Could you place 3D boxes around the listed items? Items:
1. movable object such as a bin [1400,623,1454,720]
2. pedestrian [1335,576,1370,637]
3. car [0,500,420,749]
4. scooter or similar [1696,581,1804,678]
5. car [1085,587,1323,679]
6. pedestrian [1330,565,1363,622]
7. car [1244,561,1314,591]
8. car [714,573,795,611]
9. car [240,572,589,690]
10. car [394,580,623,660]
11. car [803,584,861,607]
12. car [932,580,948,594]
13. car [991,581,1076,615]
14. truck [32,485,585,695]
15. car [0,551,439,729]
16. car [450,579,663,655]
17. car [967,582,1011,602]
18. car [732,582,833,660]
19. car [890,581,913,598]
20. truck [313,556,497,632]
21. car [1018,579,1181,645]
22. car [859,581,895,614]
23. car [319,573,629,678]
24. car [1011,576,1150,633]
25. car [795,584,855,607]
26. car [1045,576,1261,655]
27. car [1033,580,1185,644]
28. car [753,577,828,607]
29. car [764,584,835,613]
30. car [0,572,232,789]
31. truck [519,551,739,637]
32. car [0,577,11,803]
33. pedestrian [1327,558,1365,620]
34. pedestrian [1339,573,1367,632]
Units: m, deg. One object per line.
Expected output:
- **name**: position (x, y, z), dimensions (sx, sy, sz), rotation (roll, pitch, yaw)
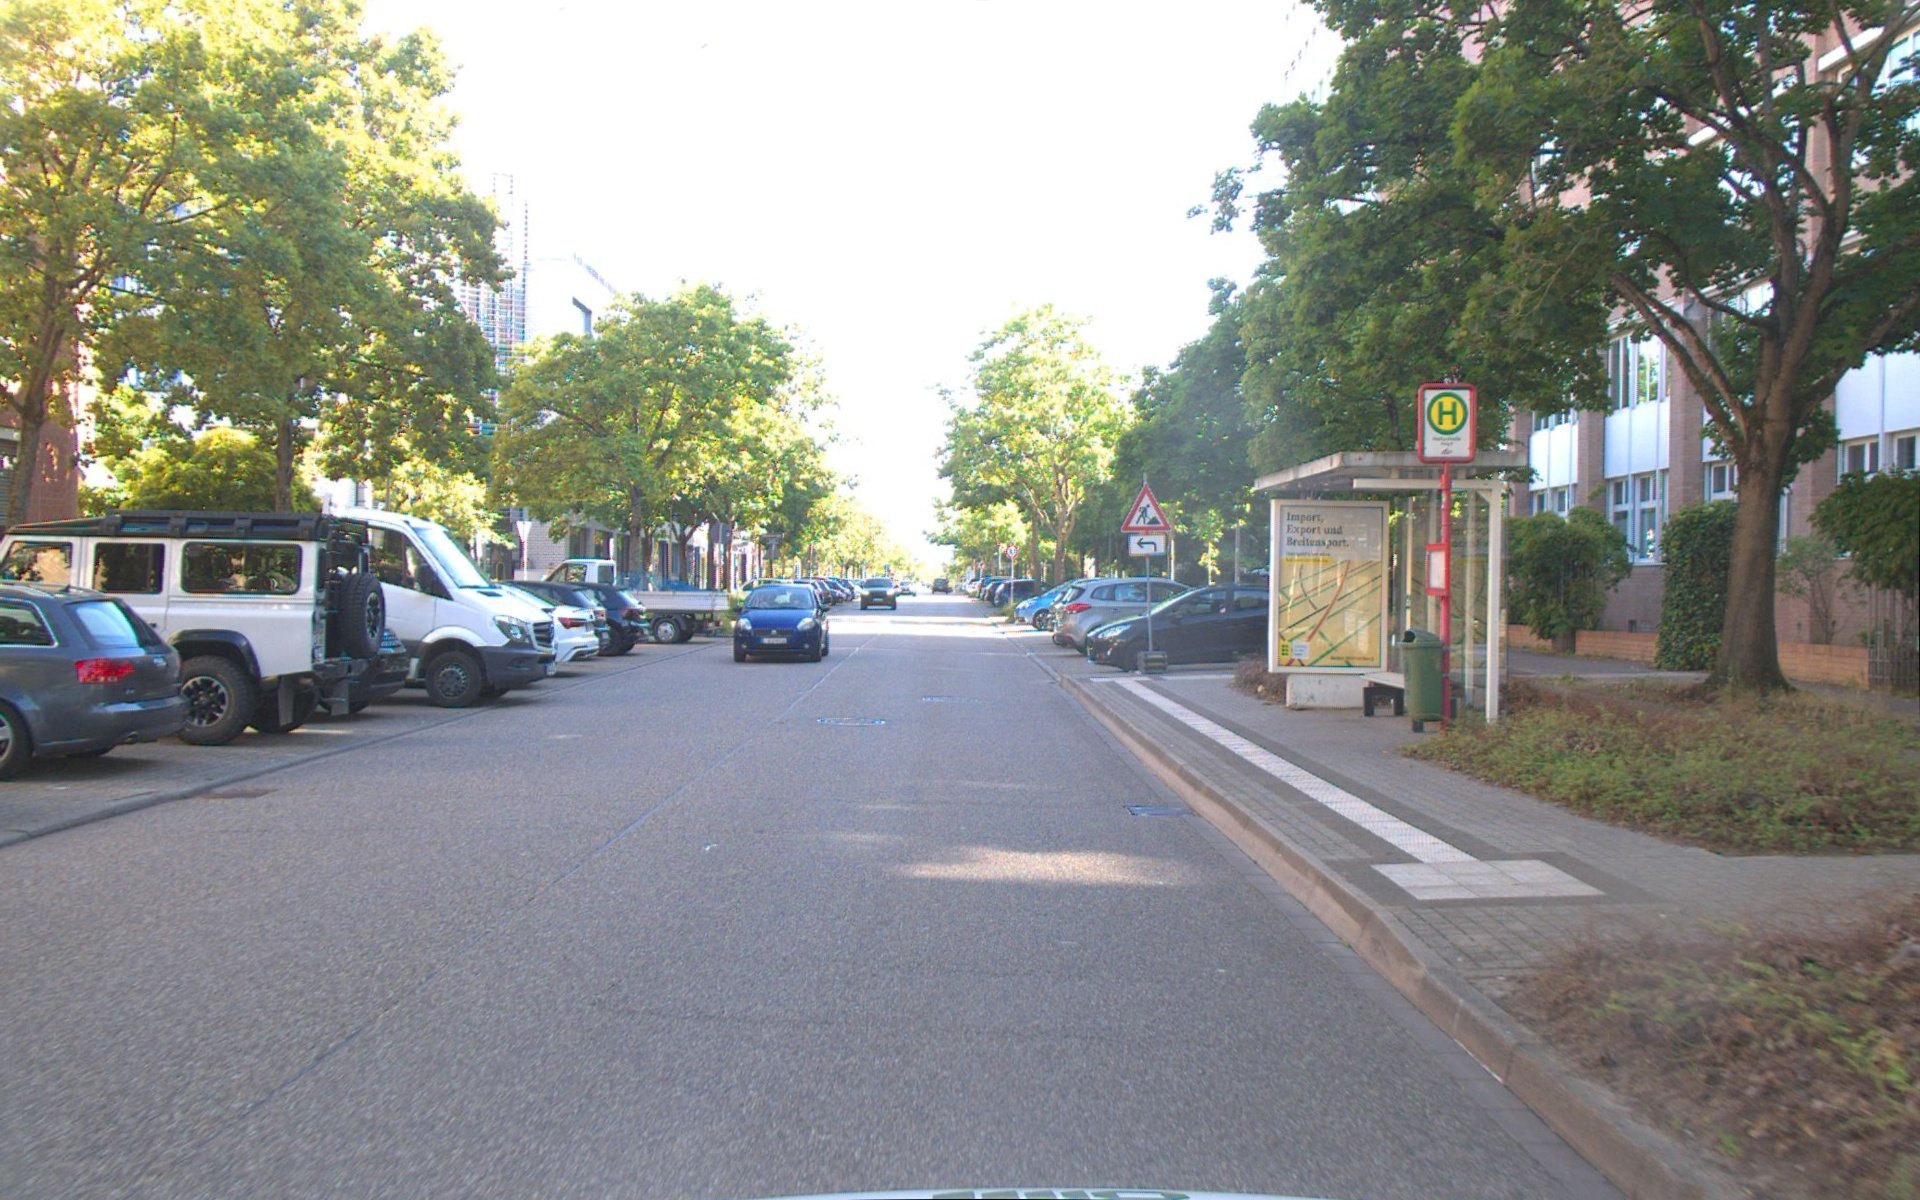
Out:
- **movable object such as a bin**: position (3.835, 0.581, 13.594), dimensions (0.292, 0.767, 0.467), rotation (-2, 0, -1)
- **pedestrian**: position (10.248, 0.172, 43.197), dimensions (0.741, 1.579, 0.559), rotation (0, 0, -3)
- **car**: position (-7.658, 0.195, 15.646), dimensions (4.392, 2.087, 1.999), rotation (2, 0, -3)
- **scooter or similar**: position (11.585, 0.417, 24.318), dimensions (0.538, 1.348, 1.804), rotation (2, 0, -6)
- **car**: position (4.086, 0.530, 28.155), dimensions (3.852, 1.464, 1.775), rotation (1, 0, 3)
- **pedestrian**: position (10.103, -0.165, 43.263), dimensions (0.686, 1.483, 0.715), rotation (0, 0, -3)
- **car**: position (20.762, -1.554, 107.739), dimensions (3.992, 1.814, 1.998), rotation (2, 0, -5)
- **car**: position (-9.280, -0.364, 74.863), dimensions (3.509, 1.577, 1.636), rotation (1, -2, -3)
- **car**: position (-7.742, 0.423, 23.812), dimensions (4.338, 1.513, 1.999), rotation (2, 0, -2)
- **car**: position (-8.572, 0.363, 31.648), dimensions (3.906, 1.460, 1.722), rotation (0, 0, -1)
- **car**: position (-8.763, -0.309, 113.516), dimensions (3.814, 1.489, 1.857), rotation (1, 0, -2)
- **car**: position (-2.454, -1.569, 198.944), dimensions (1.894, 1.625, 4.365), rotation (0, 1, -1)
- **car**: position (3.706, -0.098, 84.085), dimensions (4.183, 1.662, 1.857), rotation (0, 0, -3)
- **truck**: position (-8.078, -0.129, 20.978), dimensions (6.104, 2.464, 2.187), rotation (1, 0, 0)
- **car**: position (-8.032, 0.408, 18.037), dimensions (4.025, 1.691, 1.999), rotation (2, 0, -3)
- **car**: position (-8.288, 0.328, 34.214), dimensions (3.903, 1.460, 1.790), rotation (1, 0, 3)
- **car**: position (2.694, -0.736, 155.484), dimensions (3.910, 1.823, 1.998), rotation (1, 0, -6)
- **car**: position (-3.446, 0.370, 32.637), dimensions (1.610, 1.445, 3.999), rotation (0, 0, -1)
- **car**: position (-5.337, -0.968, 151.492), dimensions (1.775, 1.440, 4.109), rotation (1, 1, 3)
- **truck**: position (-20.593, -0.239, 61.570), dimensions (5.981, 2.752, 2.577), rotation (0, 0, -3)
- **car**: position (3.418, 0.275, 40.905), dimensions (3.727, 1.433, 1.700), rotation (-2, 1, -6)
- **car**: position (-4.360, -0.163, 87.616), dimensions (1.854, 1.713, 4.350), rotation (0, 0, -3)
- **car**: position (-7.792, 0.383, 26.844), dimensions (4.450, 1.467, 1.889), rotation (2, 1, -2)
- **car**: position (3.894, 0.121, 53.949), dimensions (4.316, 1.646, 1.911), rotation (-2, 1, -2)
- **car**: position (-8.894, -0.306, 109.416), dimensions (3.814, 1.489, 1.857), rotation (1, 0, -2)
- **car**: position (4.100, 0.322, 35.532), dimensions (4.269, 1.625, 1.937), rotation (1, 0, -7)
- **car**: position (3.894, 0.307, 43.627), dimensions (3.769, 1.509, 1.824), rotation (-2, 1, -1)
- **car**: position (-8.661, -0.426, 84.582), dimensions (3.657, 1.489, 1.676), rotation (1, 0, -2)
- **car**: position (-8.577, -0.097, 88.475), dimensions (3.657, 1.489, 1.676), rotation (1, 0, -2)
- **car**: position (-7.923, 0.542, 12.829), dimensions (3.705, 1.518, 1.831), rotation (2, 0, -5)
- **truck**: position (-8.020, -0.156, 40.393), dimensions (4.882, 1.993, 2.139), rotation (1, 0, 1)
- **car**: position (-8.202, 0.532, 10.123), dimensions (3.755, 1.486, 1.733), rotation (2, 0, 2)
- **pedestrian**: position (11.129, -0.331, 47.682), dimensions (0.683, 1.740, 0.918), rotation (-3, 1, -12)
- **pedestrian**: position (10.347, 0.064, 43.540), dimensions (0.590, 1.547, 0.594), rotation (0, 0, -3)
